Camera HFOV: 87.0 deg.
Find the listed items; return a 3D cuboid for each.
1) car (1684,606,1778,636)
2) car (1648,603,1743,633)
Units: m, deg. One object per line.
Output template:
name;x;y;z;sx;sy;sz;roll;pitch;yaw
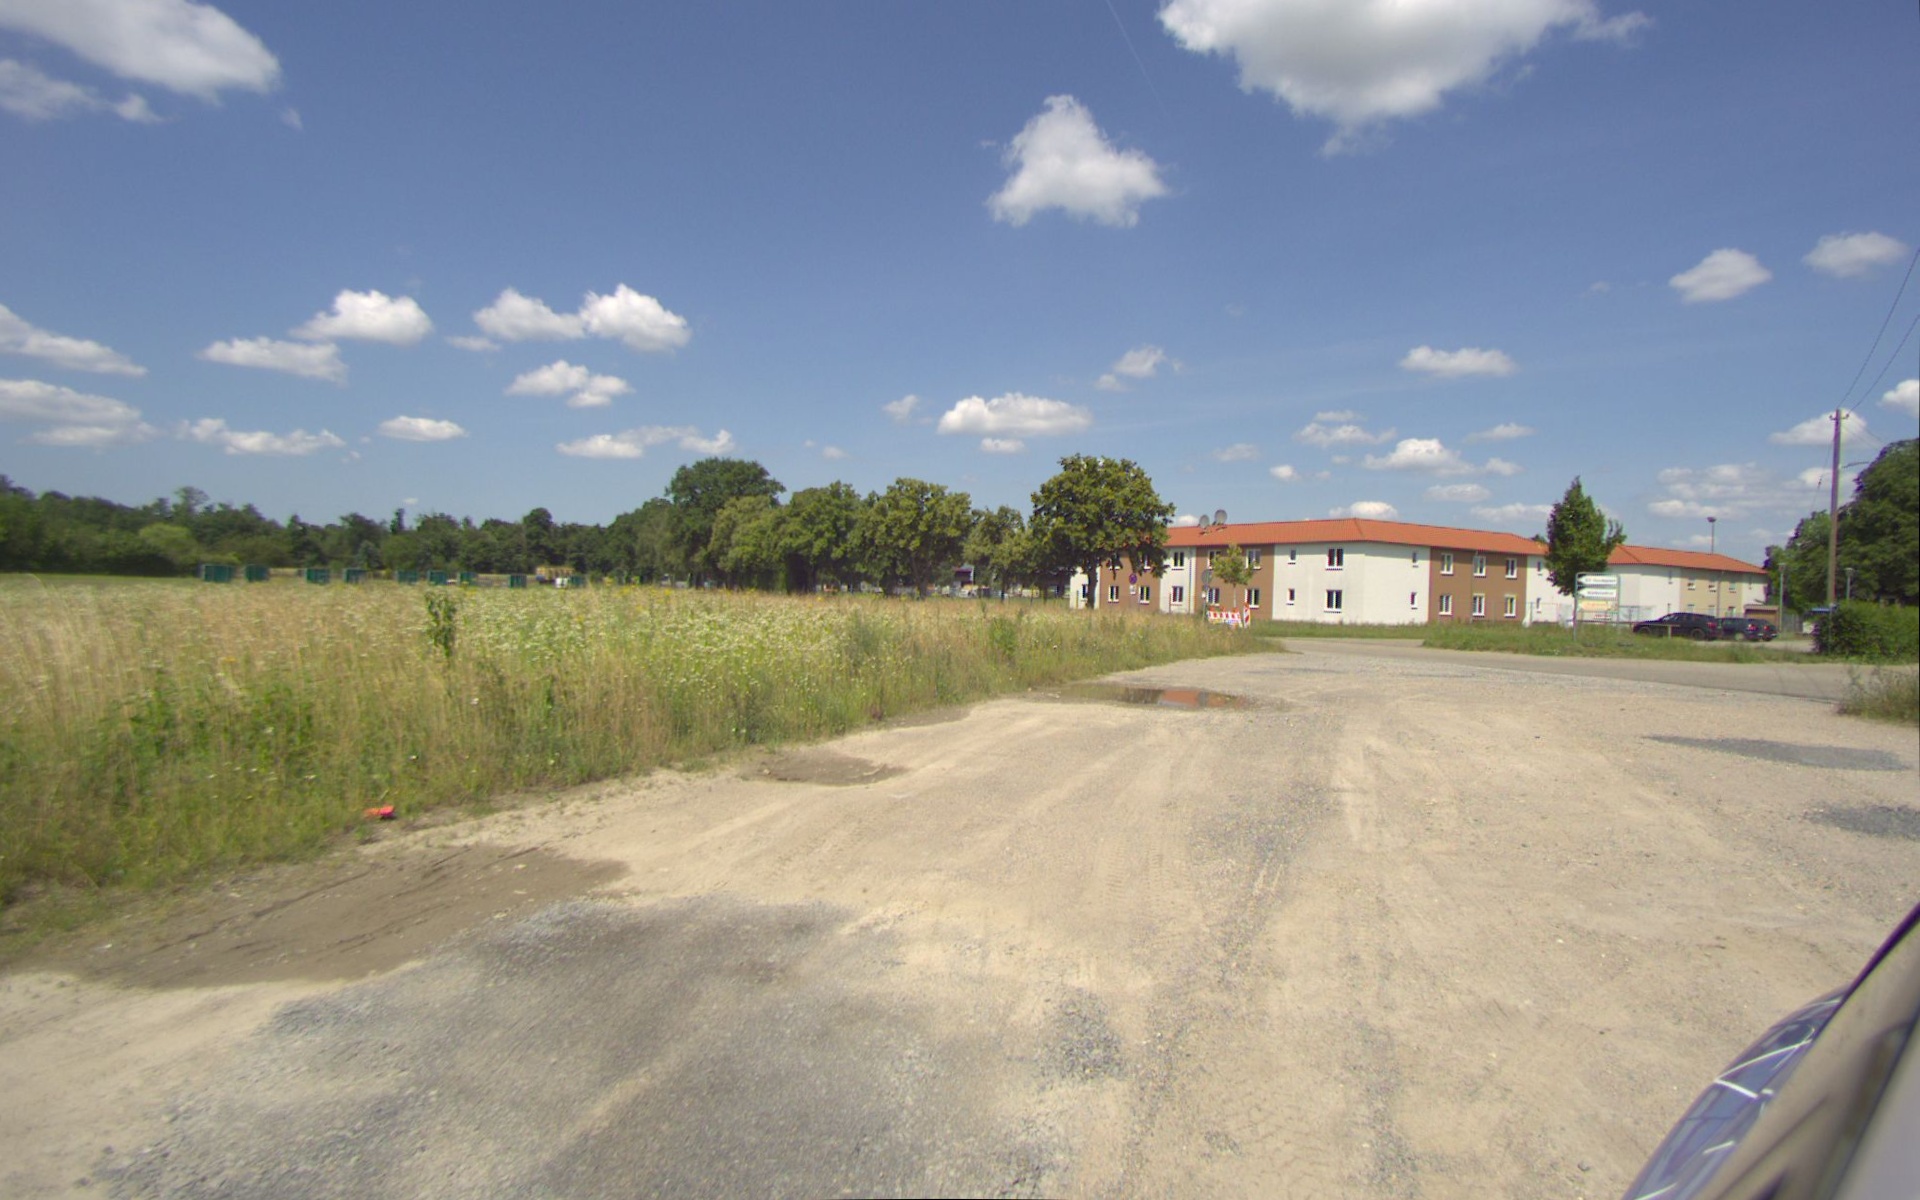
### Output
car;47.591;1.278;62.542;1.960;1.635;4.153;2;1;-31
car;44.139;1.063;60.814;1.960;1.635;4.153;2;1;-31
